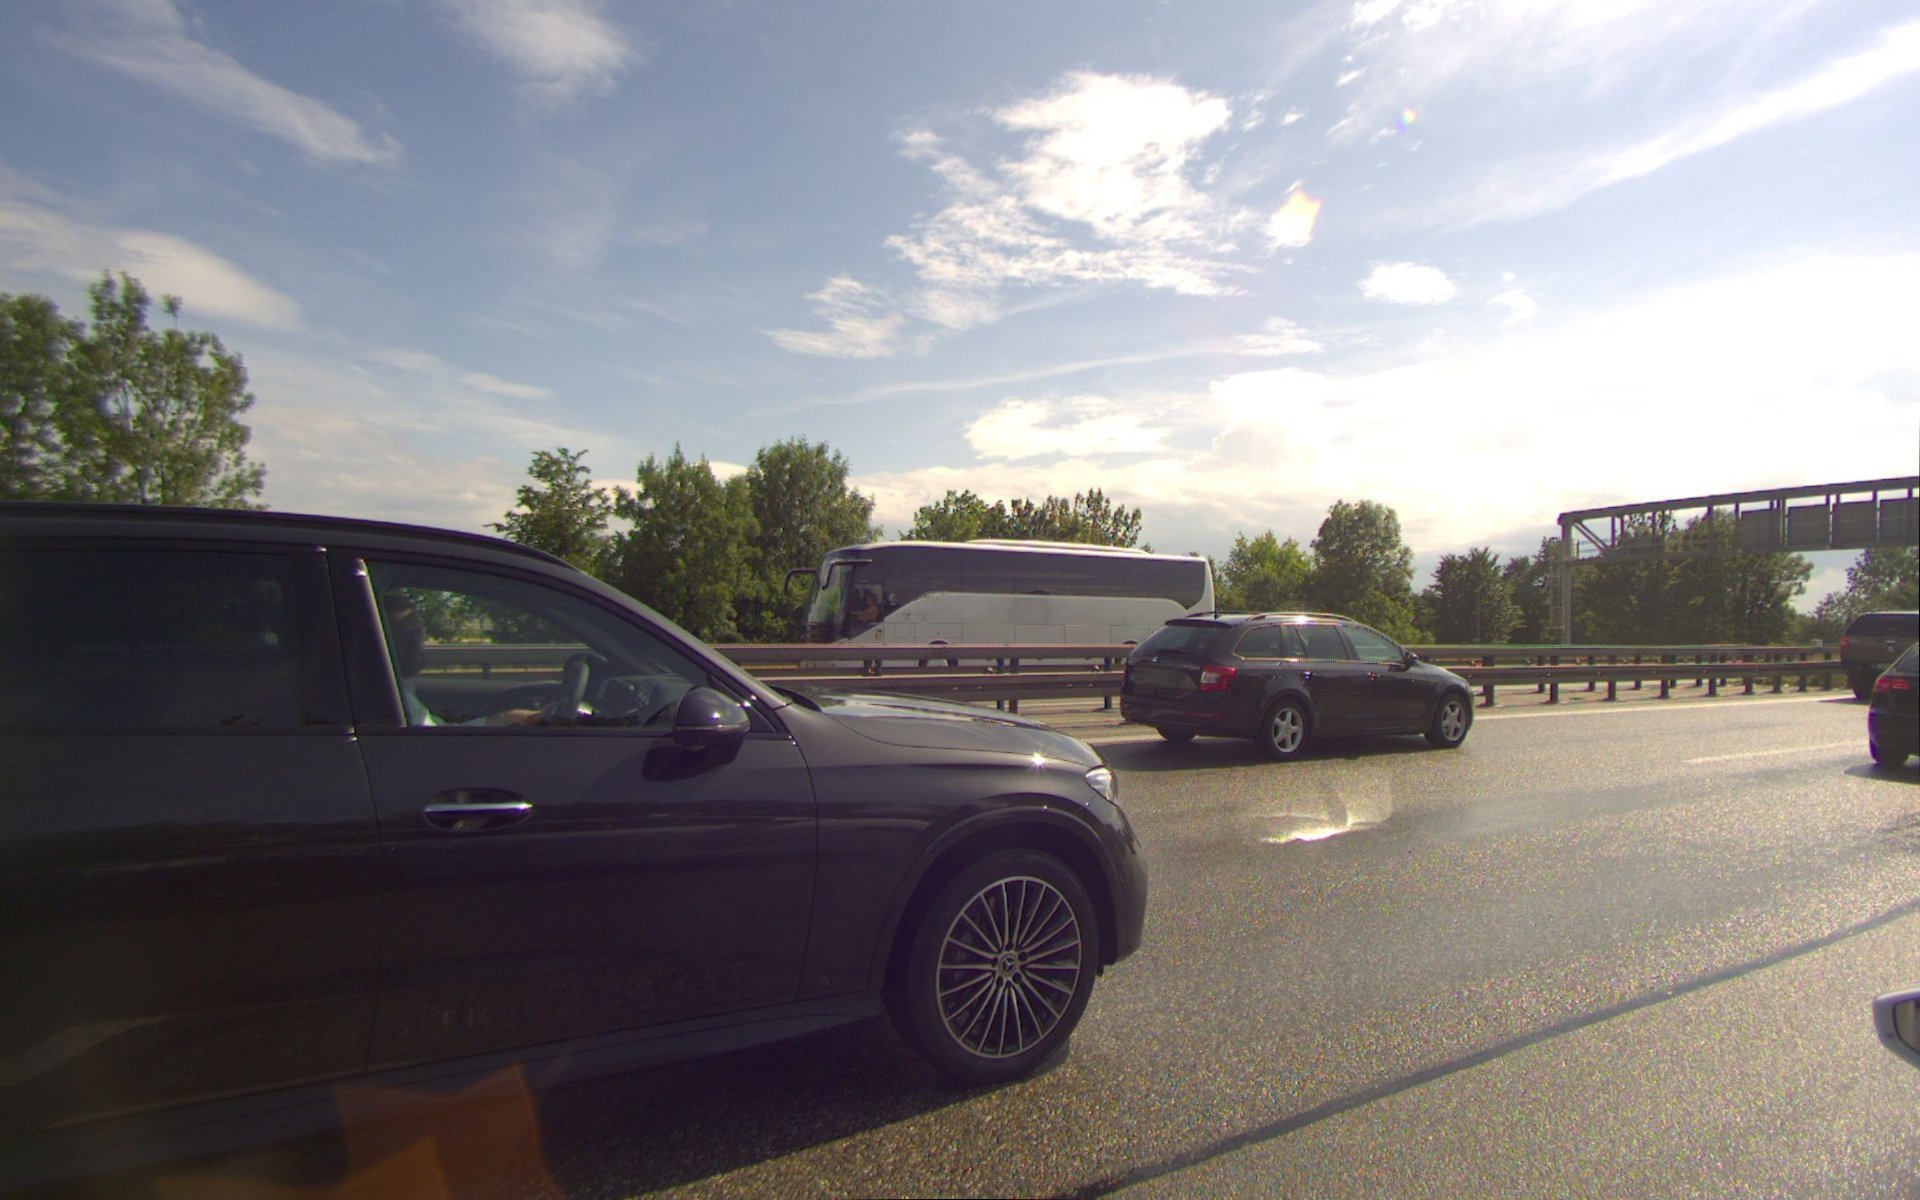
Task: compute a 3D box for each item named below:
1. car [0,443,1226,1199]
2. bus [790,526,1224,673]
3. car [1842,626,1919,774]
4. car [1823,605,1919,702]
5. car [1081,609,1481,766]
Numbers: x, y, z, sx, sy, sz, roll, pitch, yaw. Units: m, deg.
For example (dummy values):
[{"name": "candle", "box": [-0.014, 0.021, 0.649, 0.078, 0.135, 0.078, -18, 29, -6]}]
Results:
[{"name": "car", "box": [-1.520, 0.574, 3.134, 4.572, 1.701, 1.867, 1, 0, -30]}, {"name": "bus", "box": [1.655, 0.123, 27.143, 12.067, 3.330, 2.925, 1, 0, -30]}, {"name": "car", "box": [11.415, 1.046, 10.787, 4.006, 1.452, 1.742, 1, 0, -30]}, {"name": "car", "box": [20.728, 1.098, 21.412, 5.352, 1.869, 1.799, 1, 0, -29]}, {"name": "car", "box": [3.670, 0.876, 11.301, 4.322, 1.444, 1.910, 2, -1, -31]}]
